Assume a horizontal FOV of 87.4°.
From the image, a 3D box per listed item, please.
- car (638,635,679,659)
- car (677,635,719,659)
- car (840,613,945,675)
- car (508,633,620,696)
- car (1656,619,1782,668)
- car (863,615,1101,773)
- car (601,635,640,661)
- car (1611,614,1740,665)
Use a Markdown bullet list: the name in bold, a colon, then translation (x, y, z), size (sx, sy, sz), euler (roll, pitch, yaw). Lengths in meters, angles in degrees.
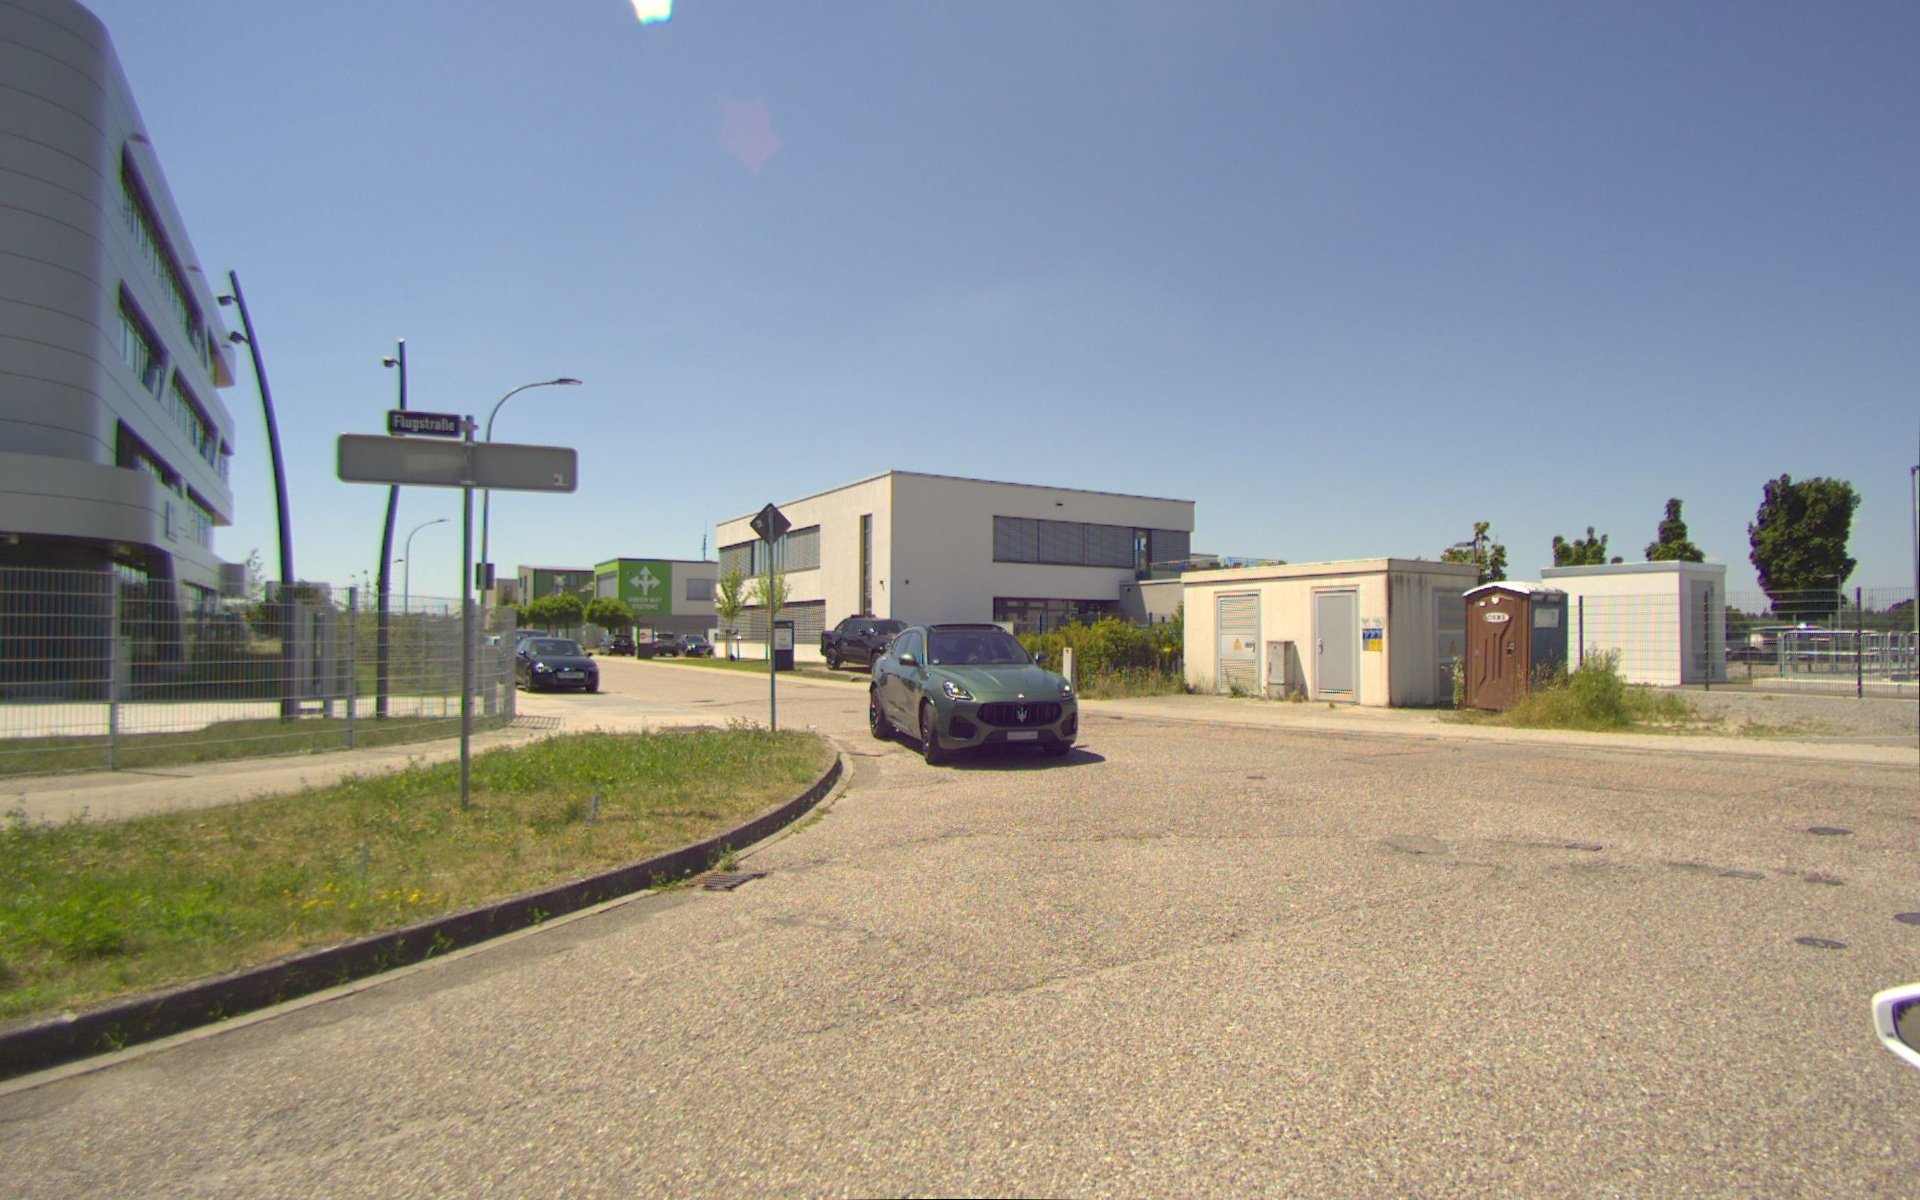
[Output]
- **car**: translation (-20.259, 3.142, 67.374), size (1.554, 1.572, 3.963), euler (1, -3, -34)
- **car**: translation (-17.828, 3.213, 68.261), size (1.554, 1.572, 3.963), euler (1, -3, -34)
- **car**: translation (-2.444, 1.553, 35.537), size (1.979, 2.040, 3.963), euler (1, -3, -34)
- **car**: translation (-10.885, 1.749, 27.449), size (1.980, 1.560, 3.963), euler (4, -4, -34)
- **car**: translation (33.372, 1.913, 44.251), size (1.977, 2.040, 3.968), euler (1, -2, -30)
- **car**: translation (0.078, 1.132, 13.690), size (1.926, 1.730, 4.497), euler (-1, -2, -17)
- **car**: translation (-22.398, 3.149, 66.233), size (1.621, 1.617, 3.967), euler (1, -3, -31)
- **car**: translation (29.957, 1.644, 42.162), size (1.977, 2.040, 3.968), euler (1, -2, -30)
